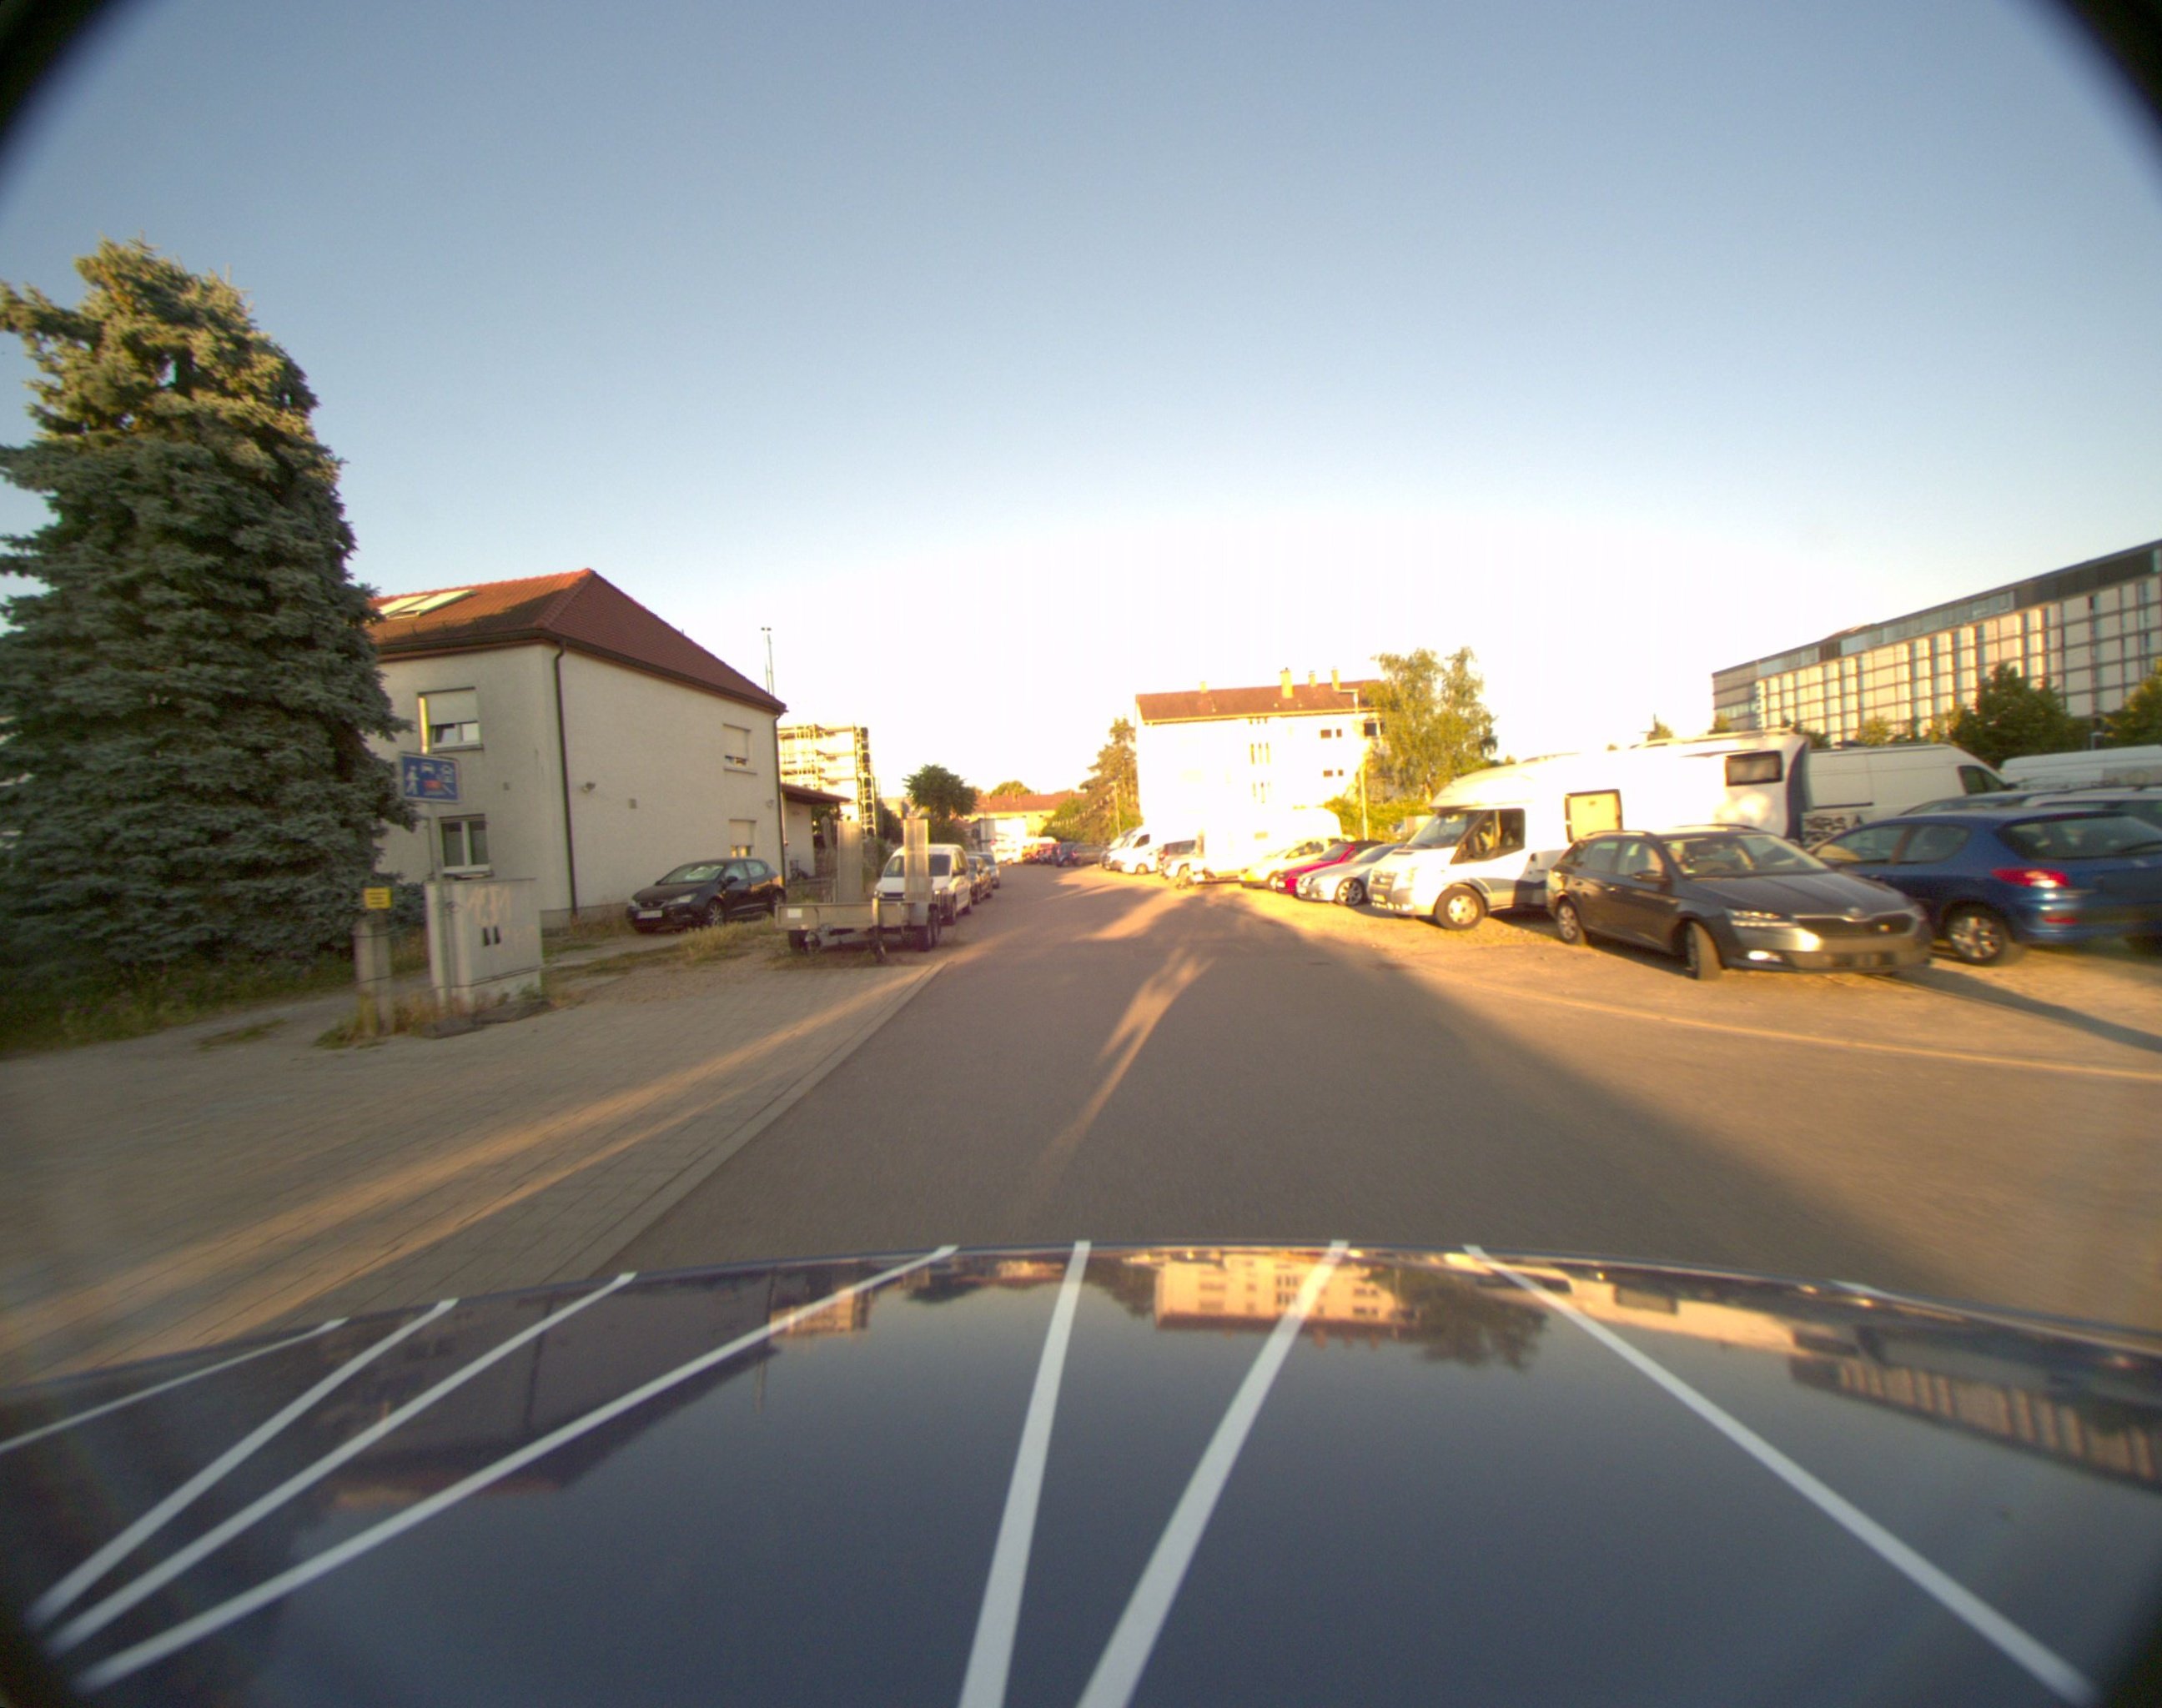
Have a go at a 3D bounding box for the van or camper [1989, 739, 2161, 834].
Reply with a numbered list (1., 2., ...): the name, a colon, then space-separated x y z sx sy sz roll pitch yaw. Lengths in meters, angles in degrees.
1. van or camper: 31.784 -2.024 22.418 2.019 2.675 6.639 -5 1 1

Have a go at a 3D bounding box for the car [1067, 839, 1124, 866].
1. car: 1.057 -0.102 56.730 3.937 1.643 1.747 -5 1 -5

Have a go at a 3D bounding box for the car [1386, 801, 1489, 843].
1. car: 15.351 -1.364 32.842 3.614 1.468 1.665 -4 1 -2

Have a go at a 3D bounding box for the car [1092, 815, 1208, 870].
1. car: 4.159 -0.716 45.833 6.411 2.698 2.110 -5 3 -15

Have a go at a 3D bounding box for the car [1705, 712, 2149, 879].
1. car: 16.839 -1.103 15.436 6.257 2.658 2.223 -4 1 2

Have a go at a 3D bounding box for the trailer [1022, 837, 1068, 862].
1. trailer: -4.012 -0.526 84.868 4.806 2.419 2.132 -5 3 -7

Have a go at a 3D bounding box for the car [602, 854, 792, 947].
1. car: -7.969 0.886 16.229 1.639 1.511 3.903 -2 3 7

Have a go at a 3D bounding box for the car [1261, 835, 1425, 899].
1. car: 6.995 0.327 20.455 3.737 1.359 1.704 -4 1 -7

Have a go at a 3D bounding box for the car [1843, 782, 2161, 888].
1. car: 15.551 -0.308 12.960 3.446 1.439 1.514 -4 1 2

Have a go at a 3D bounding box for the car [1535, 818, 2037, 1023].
1. car: 6.777 0.475 8.108 1.690 1.510 4.362 -4 1 8

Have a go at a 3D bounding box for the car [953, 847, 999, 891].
1. car: -4.470 0.568 32.889 1.811 1.715 4.925 -1 1 -6

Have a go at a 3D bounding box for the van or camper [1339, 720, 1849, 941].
1. van or camper: 8.176 -0.368 12.699 6.757 2.881 2.408 -4 1 0

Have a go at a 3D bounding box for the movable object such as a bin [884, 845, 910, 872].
1. movable object such as a bin: -17.416 0.411 72.286 2.072 2.260 8.358 -3 1 -12

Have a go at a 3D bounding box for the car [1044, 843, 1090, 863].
1. car: -1.291 -0.073 67.794 3.937 1.508 1.642 -4 2 -4

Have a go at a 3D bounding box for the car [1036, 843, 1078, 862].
1. car: -2.458 -0.162 76.046 4.048 1.611 1.848 -4 1 -4

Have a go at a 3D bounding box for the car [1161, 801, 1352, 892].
1. car: 5.977 -0.297 26.457 5.904 2.520 2.410 -5 2 -2

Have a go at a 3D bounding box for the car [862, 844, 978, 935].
1. car: -3.670 0.717 18.143 1.775 1.820 4.407 -2 1 0

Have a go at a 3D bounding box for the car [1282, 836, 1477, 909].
1. car: 6.900 0.402 17.770 3.818 1.321 1.692 -4 1 -5

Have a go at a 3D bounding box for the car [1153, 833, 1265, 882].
1. car: 5.225 0.126 31.280 4.138 1.582 1.746 -5 2 -7

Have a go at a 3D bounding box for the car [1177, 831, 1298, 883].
1. car: 5.975 0.084 29.231 4.138 1.582 1.747 -5 2 -5

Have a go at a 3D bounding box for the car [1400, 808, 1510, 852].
1. car: 15.210 -0.954 31.015 3.614 1.468 1.665 -4 1 -2

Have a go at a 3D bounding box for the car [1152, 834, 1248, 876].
1. car: 5.309 0.015 34.201 3.935 1.582 1.748 -4 1 0

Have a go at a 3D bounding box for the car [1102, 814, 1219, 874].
1. car: 4.326 -0.573 41.608 5.844 2.697 2.049 -5 1 -10

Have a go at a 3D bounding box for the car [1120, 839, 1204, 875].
1. car: 4.117 0.136 38.927 3.938 1.499 1.788 -4 2 -8

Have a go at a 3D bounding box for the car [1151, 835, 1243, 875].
1. car: 5.550 0.015 36.536 3.938 1.582 1.746 -4 3 -8

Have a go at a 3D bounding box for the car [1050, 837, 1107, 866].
1. car: -0.220 -0.207 58.993 3.941 1.900 1.745 -6 1 -21

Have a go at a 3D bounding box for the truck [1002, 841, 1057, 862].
1. truck: -5.940 -0.300 87.485 6.032 2.031 2.353 -4 1 -11

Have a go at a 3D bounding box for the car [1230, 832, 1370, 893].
1. car: 6.595 0.237 23.080 3.639 1.510 1.704 -4 1 -7

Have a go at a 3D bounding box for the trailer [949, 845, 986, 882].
1. trailer: -5.830 0.442 39.460 1.736 1.767 4.933 -1 1 -7

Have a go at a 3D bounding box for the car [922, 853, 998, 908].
1. car: -3.812 0.783 24.604 1.708 1.510 4.087 -2 1 1

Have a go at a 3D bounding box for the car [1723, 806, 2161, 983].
1. car: 9.167 0.294 8.141 1.666 1.414 3.723 -3 1 6

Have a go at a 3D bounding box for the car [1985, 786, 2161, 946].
1. car: 11.261 0.124 6.768 1.666 1.472 4.204 -5 2 6

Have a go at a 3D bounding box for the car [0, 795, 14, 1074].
1. car: -13.280 0.912 6.821 5.573 2.676 2.055 -3 -1 10

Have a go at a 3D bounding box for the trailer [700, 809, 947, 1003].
1. trailer: -3.485 0.589 11.557 2.070 2.199 5.221 -2 1 -2
